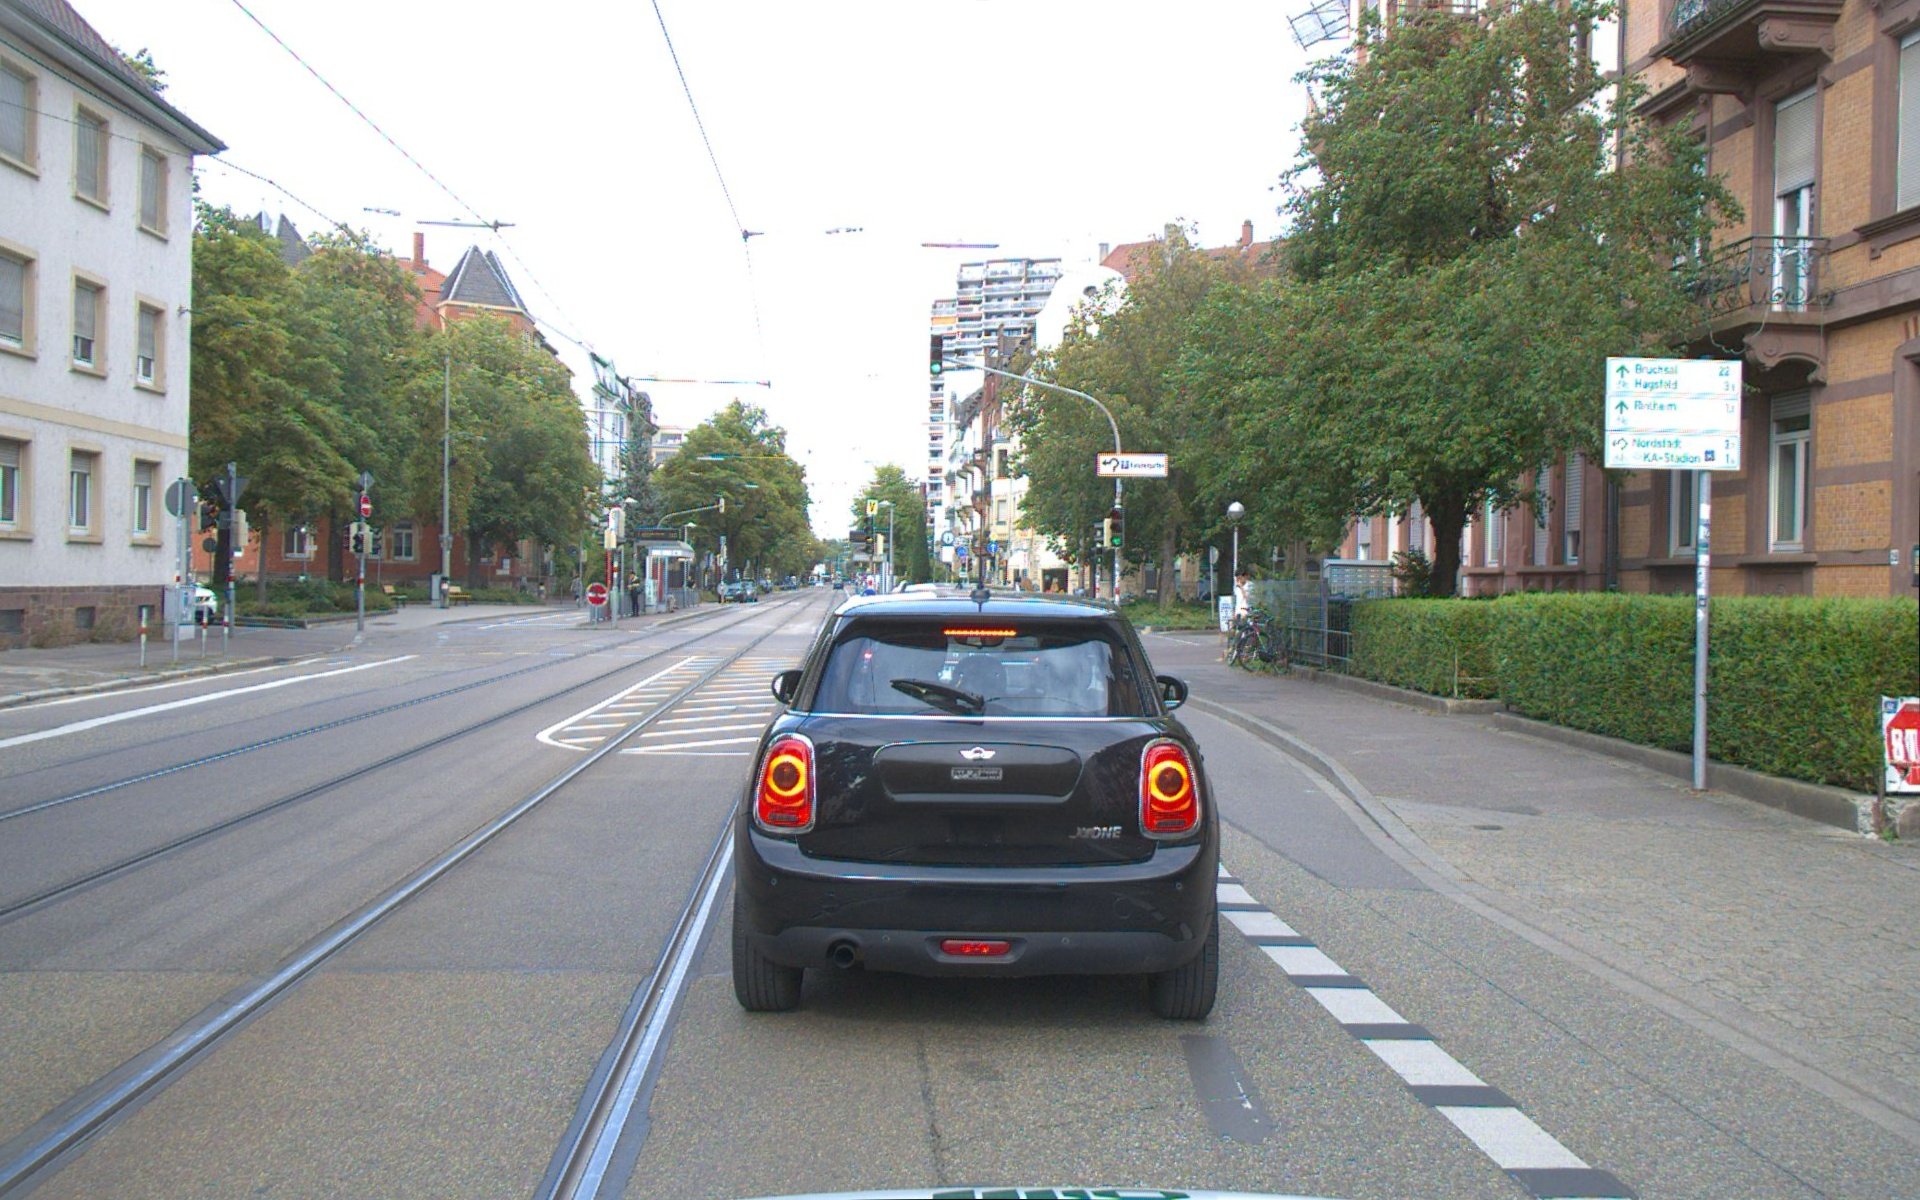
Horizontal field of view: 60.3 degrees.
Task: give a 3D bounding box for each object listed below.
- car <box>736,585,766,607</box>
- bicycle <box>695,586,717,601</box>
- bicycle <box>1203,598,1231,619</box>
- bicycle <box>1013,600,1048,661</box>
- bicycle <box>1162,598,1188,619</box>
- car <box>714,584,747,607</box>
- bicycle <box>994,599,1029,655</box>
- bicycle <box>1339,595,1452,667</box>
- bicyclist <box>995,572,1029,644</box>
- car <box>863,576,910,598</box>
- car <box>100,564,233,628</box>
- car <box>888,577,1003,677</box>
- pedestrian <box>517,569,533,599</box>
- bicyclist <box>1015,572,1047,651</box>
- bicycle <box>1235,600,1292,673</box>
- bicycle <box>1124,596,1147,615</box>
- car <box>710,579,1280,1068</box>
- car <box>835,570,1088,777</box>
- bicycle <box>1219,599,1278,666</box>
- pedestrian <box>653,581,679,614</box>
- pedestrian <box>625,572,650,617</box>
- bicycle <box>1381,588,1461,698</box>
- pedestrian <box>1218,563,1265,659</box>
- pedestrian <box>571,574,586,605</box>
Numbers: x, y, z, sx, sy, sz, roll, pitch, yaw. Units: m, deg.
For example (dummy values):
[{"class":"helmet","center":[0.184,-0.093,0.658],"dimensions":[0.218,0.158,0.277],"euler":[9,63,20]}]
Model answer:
[{"class":"car","center":[-15.046,-0.287,119.226],"dimensions":[1.717,1.466,3.998],"euler":[3,0,-2]},{"class":"bicycle","center":[-20.086,-0.524,130.708],"dimensions":[1.659,1.138,0.564],"euler":[0,1,-44]},{"class":"bicycle","center":[13.832,0.460,89.116],"dimensions":[0.654,1.147,1.885],"euler":[1,0,38]},{"class":"bicycle","center":[1.431,0.609,33.761],"dimensions":[0.586,1.190,1.696],"euler":[1,1,-1]},{"class":"bicycle","center":[11.807,0.455,90.931],"dimensions":[0.522,1.147,1.885],"euler":[1,0,38]},{"class":"car","center":[-15.455,-0.296,111.554],"dimensions":[1.717,1.466,3.998],"euler":[3,0,-2]},{"class":"bicycle","center":[1.146,0.590,37.174],"dimensions":[0.670,1.190,1.696],"euler":[1,1,-2]},{"class":"bicycle","center":[6.363,0.448,24.199],"dimensions":[1.515,1.026,0.509],"euler":[1,0,-6]},{"class":"bicyclist","center":[1.159,0.167,37.115],"dimensions":[0.670,1.591,0.998],"euler":[1,0,-2]},{"class":"car","center":[-8.138,-1.448,183.466],"dimensions":[5.002,2.312,2.358],"euler":[1,0,-45]},{"class":"car","center":[-23.561,-0.085,49.070],"dimensions":[4.076,1.751,1.834],"euler":[-1,-2,36]},{"class":"car","center":[-0.287,0.388,27.072],"dimensions":[1.716,1.466,4.478],"euler":[1,0,-2]},{"class":"pedestrian","center":[-25.403,-0.934,96.537],"dimensions":[0.817,1.732,0.731],"euler":[1,0,-9]},{"class":"bicyclist","center":[1.439,0.227,33.753],"dimensions":[0.582,1.577,1.013],"euler":[1,0,-1]},{"class":"bicycle","center":[4.897,0.572,26.778],"dimensions":[0.498,1.107,1.549],"euler":[-2,1,-4]},{"class":"bicycle","center":[9.885,0.326,93.135],"dimensions":[0.441,1.073,1.642],"euler":[1,0,38]},{"class":"car","center":[0.095,0.666,7.030],"dimensions":[1.716,1.466,4.000],"euler":[1,0,0]},{"class":"car","center":[-0.005,0.543,14.468],"dimensions":[1.887,1.536,4.000],"euler":[1,0,-1]},{"class":"bicycle","center":[5.132,0.563,29.523],"dimensions":[0.658,1.125,1.671],"euler":[1,1,-4]},{"class":"pedestrian","center":[-12.127,-0.100,68.210],"dimensions":[1.039,1.316,0.984],"euler":[1,0,-9]},{"class":"pedestrian","center":[-11.751,-0.203,60.246],"dimensions":[0.836,1.649,0.841],"euler":[1,0,-9]},{"class":"bicycle","center":[5.691,0.505,20.496],"dimensions":[0.505,1.304,1.549],"euler":[1,1,-2]},{"class":"pedestrian","center":[5.341,0.202,31.442],"dimensions":[0.715,1.784,0.950],"euler":[1,0,1]},{"class":"pedestrian","center":[-21.148,-0.583,91.672],"dimensions":[0.680,1.749,0.758],"euler":[1,0,-2]}]
